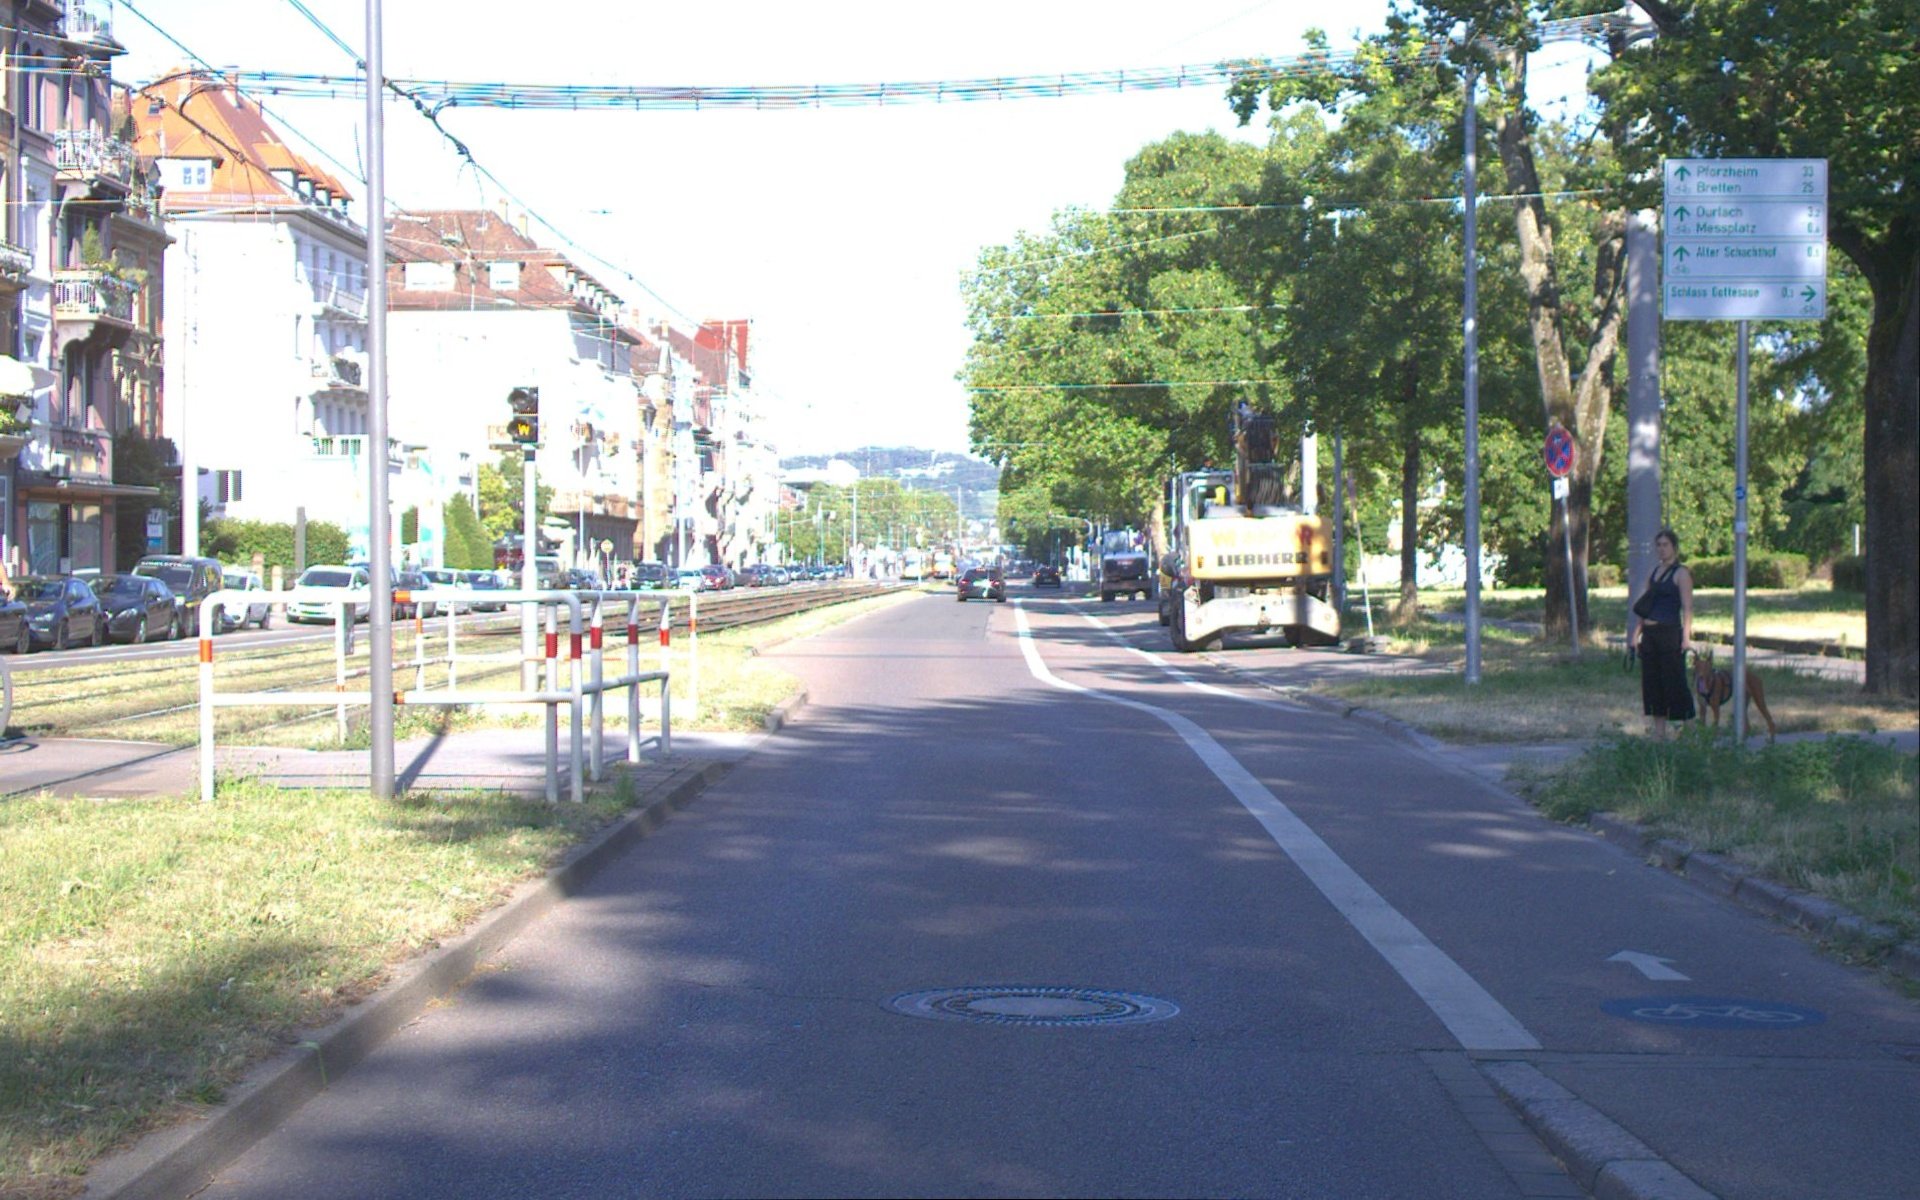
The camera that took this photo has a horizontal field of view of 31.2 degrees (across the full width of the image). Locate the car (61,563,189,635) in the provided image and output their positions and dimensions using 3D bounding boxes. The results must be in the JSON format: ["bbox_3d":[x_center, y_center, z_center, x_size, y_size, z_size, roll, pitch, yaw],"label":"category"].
[{"bbox_3d":[-18.176,-0.037,74.970,1.776,1.401,3.979,2,2,0],"label":"car"}]

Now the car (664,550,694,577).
[{"bbox_3d":[-17.522,-2.274,214.687,1.527,1.605,3.223,2,2,0],"label":"car"}]

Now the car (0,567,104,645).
[{"bbox_3d":[-18.617,0.097,69.166,1.776,1.401,3.909,2,2,0],"label":"car"}]

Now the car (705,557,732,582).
[{"bbox_3d":[-16.263,-2.082,231.916,1.527,1.605,3.223,2,2,0],"label":"car"}]

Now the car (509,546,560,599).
[{"bbox_3d":[-17.981,-1.179,145.296,1.658,2.132,3.525,2,2,0],"label":"car"}]

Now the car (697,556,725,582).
[{"bbox_3d":[-16.440,-2.039,227.085,1.527,1.605,3.223,2,2,0],"label":"car"}]

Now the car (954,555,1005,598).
[{"bbox_3d":[0.804,-0.968,141.326,1.993,1.678,4.000,2,1,1],"label":"car"}]

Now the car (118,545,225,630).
[{"bbox_3d":[-18.456,-0.322,80.595,1.562,1.847,3.900,2,2,0],"label":"car"}]

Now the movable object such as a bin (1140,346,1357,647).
[{"bbox_3d":[5.211,-1.834,63.852,3.087,5.071,8.892,-3,1,0],"label":"movable object such as a bin"}]

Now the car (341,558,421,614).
[{"bbox_3d":[-17.683,-0.434,105.071,1.741,1.555,3.768,2,2,0],"label":"car"}]

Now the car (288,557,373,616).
[{"bbox_3d":[-18.343,-0.408,100.324,1.741,1.555,3.768,2,2,0],"label":"car"}]

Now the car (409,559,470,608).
[{"bbox_3d":[-17.718,-0.583,117.152,1.527,1.555,3.223,2,2,0],"label":"car"}]

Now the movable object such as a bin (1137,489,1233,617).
[{"bbox_3d":[5.588,-1.165,85.915,1.968,3.003,4.796,-3,0,0],"label":"movable object such as a bin"}]

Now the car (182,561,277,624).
[{"bbox_3d":[-18.565,-0.197,87.481,1.562,1.452,3.665,2,2,0],"label":"car"}]

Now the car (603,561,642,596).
[{"bbox_3d":[-16.295,-1.035,166.086,1.527,1.555,3.223,2,2,0],"label":"car"}]

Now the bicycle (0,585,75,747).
[{"bbox_3d":[-6.822,0.424,23.099,1.958,1.037,0.765,1,1,44],"label":"bicycle"}]

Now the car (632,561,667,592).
[{"bbox_3d":[-17.058,-1.301,188.894,1.527,1.555,3.223,2,2,0],"label":"car"}]

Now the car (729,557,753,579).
[{"bbox_3d":[-16.429,-2.407,258.125,1.527,1.605,3.223,2,2,0],"label":"car"}]

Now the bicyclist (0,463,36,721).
[{"bbox_3d":[-6.794,-0.056,23.075,0.921,1.709,0.765,1,1,43],"label":"bicyclist"}]

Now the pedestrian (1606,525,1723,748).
[{"bbox_3d":[5.343,0.272,26.124,0.660,1.641,0.862,-2,0,1],"label":"pedestrian"}]

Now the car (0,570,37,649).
[{"bbox_3d":[-18.792,0.175,64.649,1.776,1.401,3.909,2,2,0],"label":"car"}]

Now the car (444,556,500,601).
[{"bbox_3d":[-17.868,-0.799,126.052,1.527,1.555,3.223,2,2,0],"label":"car"}]

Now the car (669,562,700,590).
[{"bbox_3d":[-16.484,-1.470,205.817,1.527,1.555,3.223,2,2,0],"label":"car"}]

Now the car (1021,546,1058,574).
[{"bbox_3d":[5.424,-2.729,235.035,1.993,1.853,4.001,2,1,-6],"label":"car"}]

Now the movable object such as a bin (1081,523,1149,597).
[{"bbox_3d":[6.344,-1.641,141.118,2.467,2.896,4.000,-3,0,0],"label":"movable object such as a bin"}]
